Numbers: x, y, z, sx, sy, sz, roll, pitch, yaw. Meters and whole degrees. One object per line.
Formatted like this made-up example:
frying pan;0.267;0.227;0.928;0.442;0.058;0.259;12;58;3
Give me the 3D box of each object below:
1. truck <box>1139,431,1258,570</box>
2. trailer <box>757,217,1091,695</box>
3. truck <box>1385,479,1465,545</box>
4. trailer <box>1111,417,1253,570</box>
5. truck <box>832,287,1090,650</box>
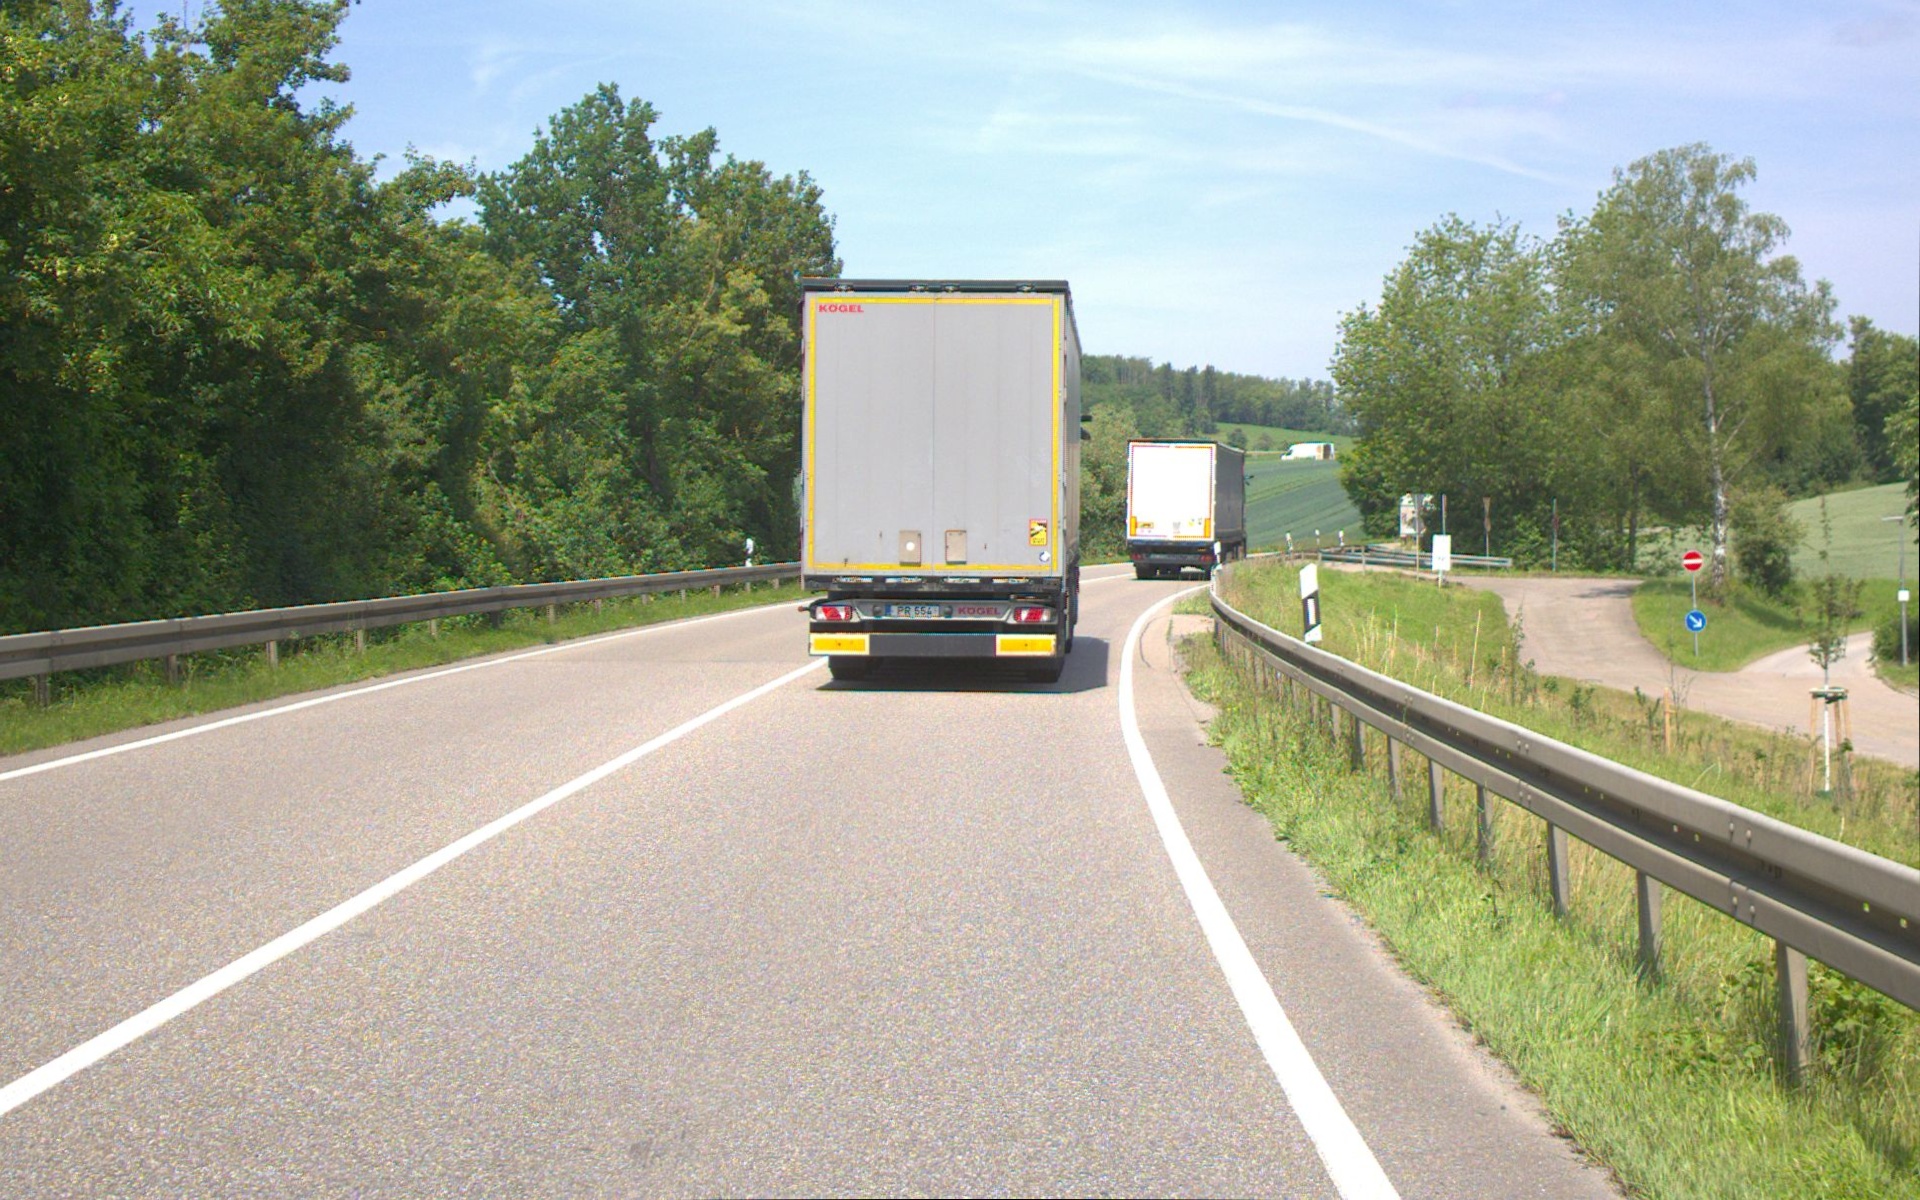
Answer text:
truck;7.724;-3.130;110.672;3.366;4.302;6.738;0;0;8
trailer;-0.107;-1.543;39.456;3.118;4.484;13.886;1;2;2
truck;25.488;-4.758;187.988;3.224;3.354;11.868;0;0;13
trailer;6.908;-3.099;104.751;3.366;4.302;13.860;0;0;8
truck;0.139;-1.728;46.219;3.118;4.479;6.811;1;1;3
